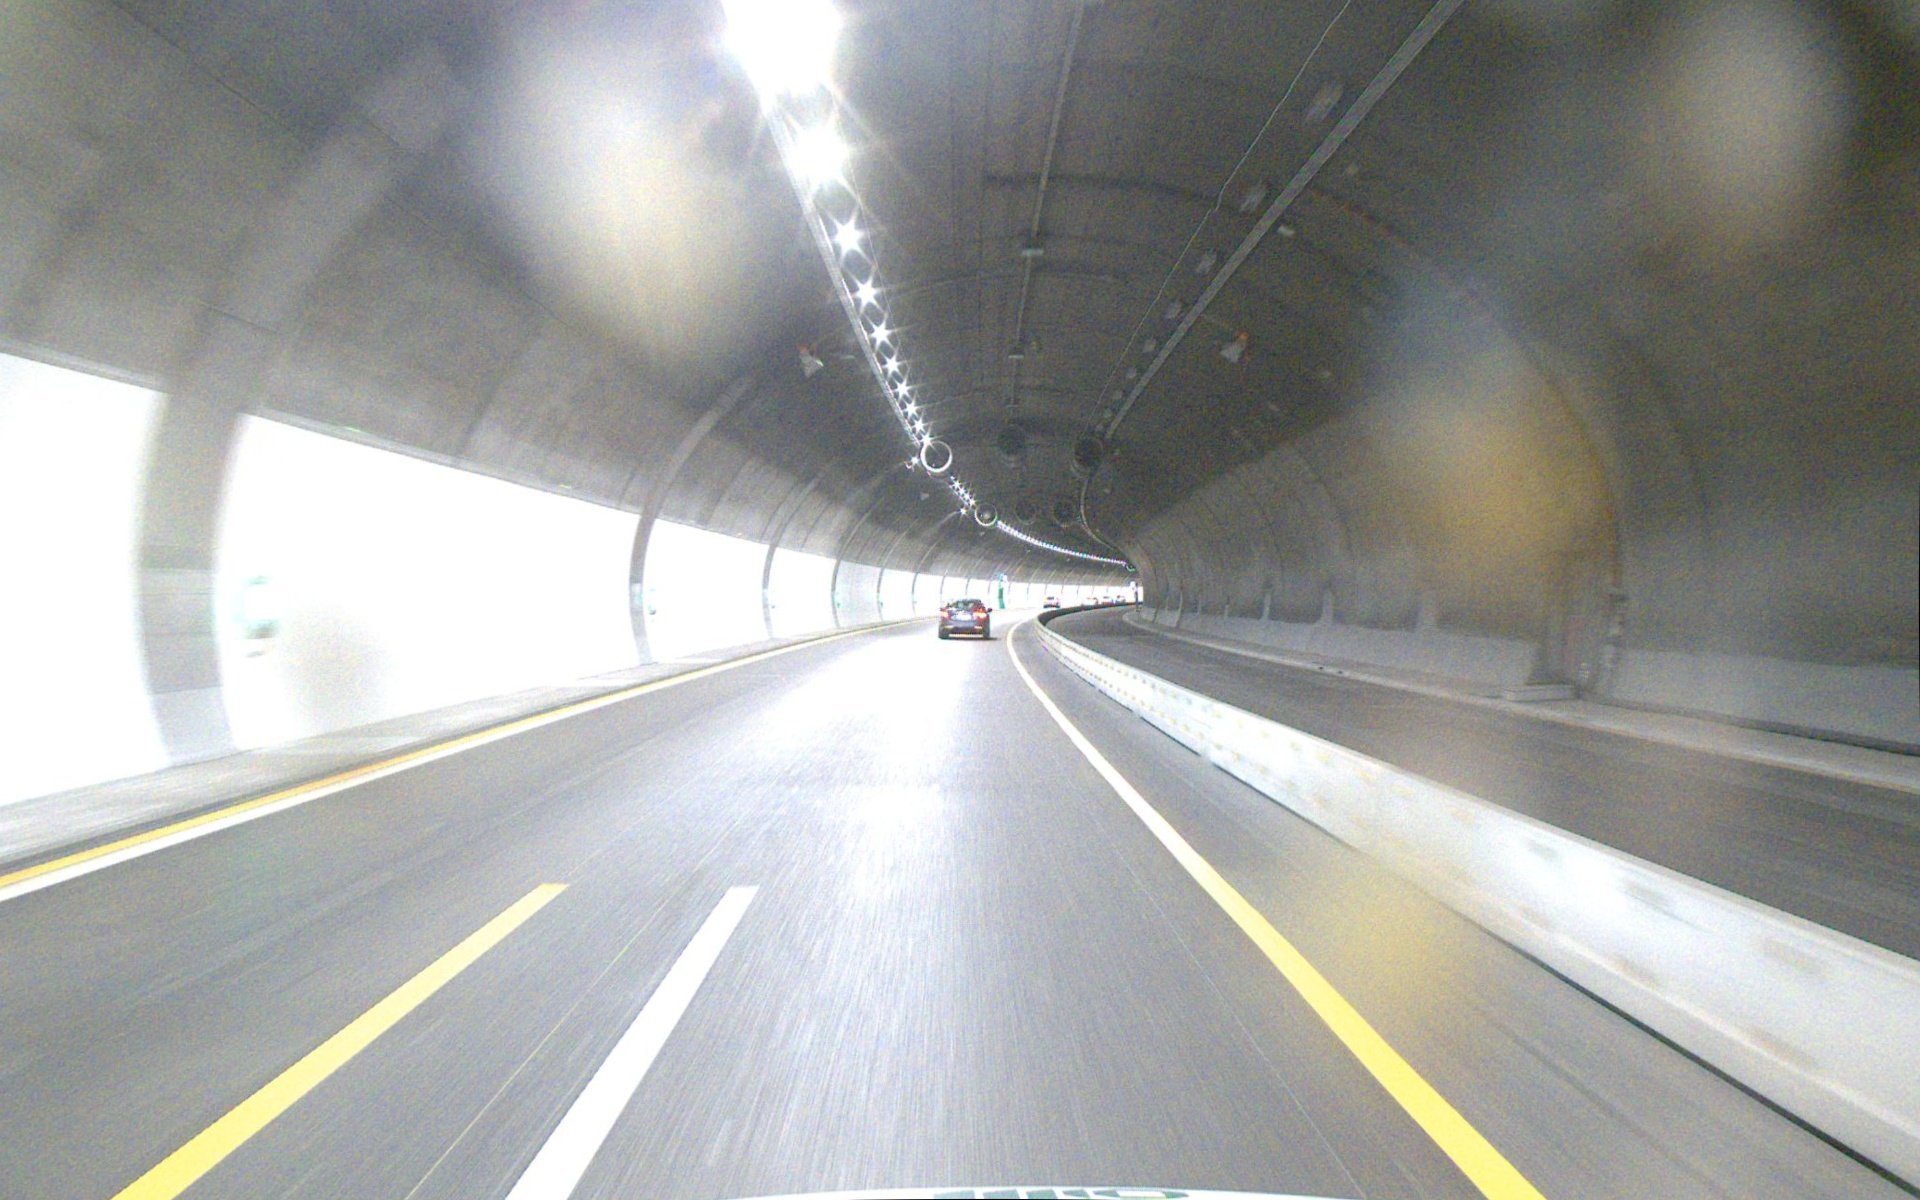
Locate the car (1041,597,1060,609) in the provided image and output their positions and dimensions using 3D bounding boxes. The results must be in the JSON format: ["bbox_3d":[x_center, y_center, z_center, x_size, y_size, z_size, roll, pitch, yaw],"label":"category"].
[{"bbox_3d":[11.503,0.376,209.501,2.119,1.512,4.003,1,0,7],"label":"car"}]

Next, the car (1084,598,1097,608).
[{"bbox_3d":[18.354,0.423,232.698,1.561,1.356,3.753,1,0,9],"label":"car"}]

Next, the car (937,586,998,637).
[{"bbox_3d":[0.296,0.386,59.900,2.097,1.735,4.001,1,0,1],"label":"car"}]
